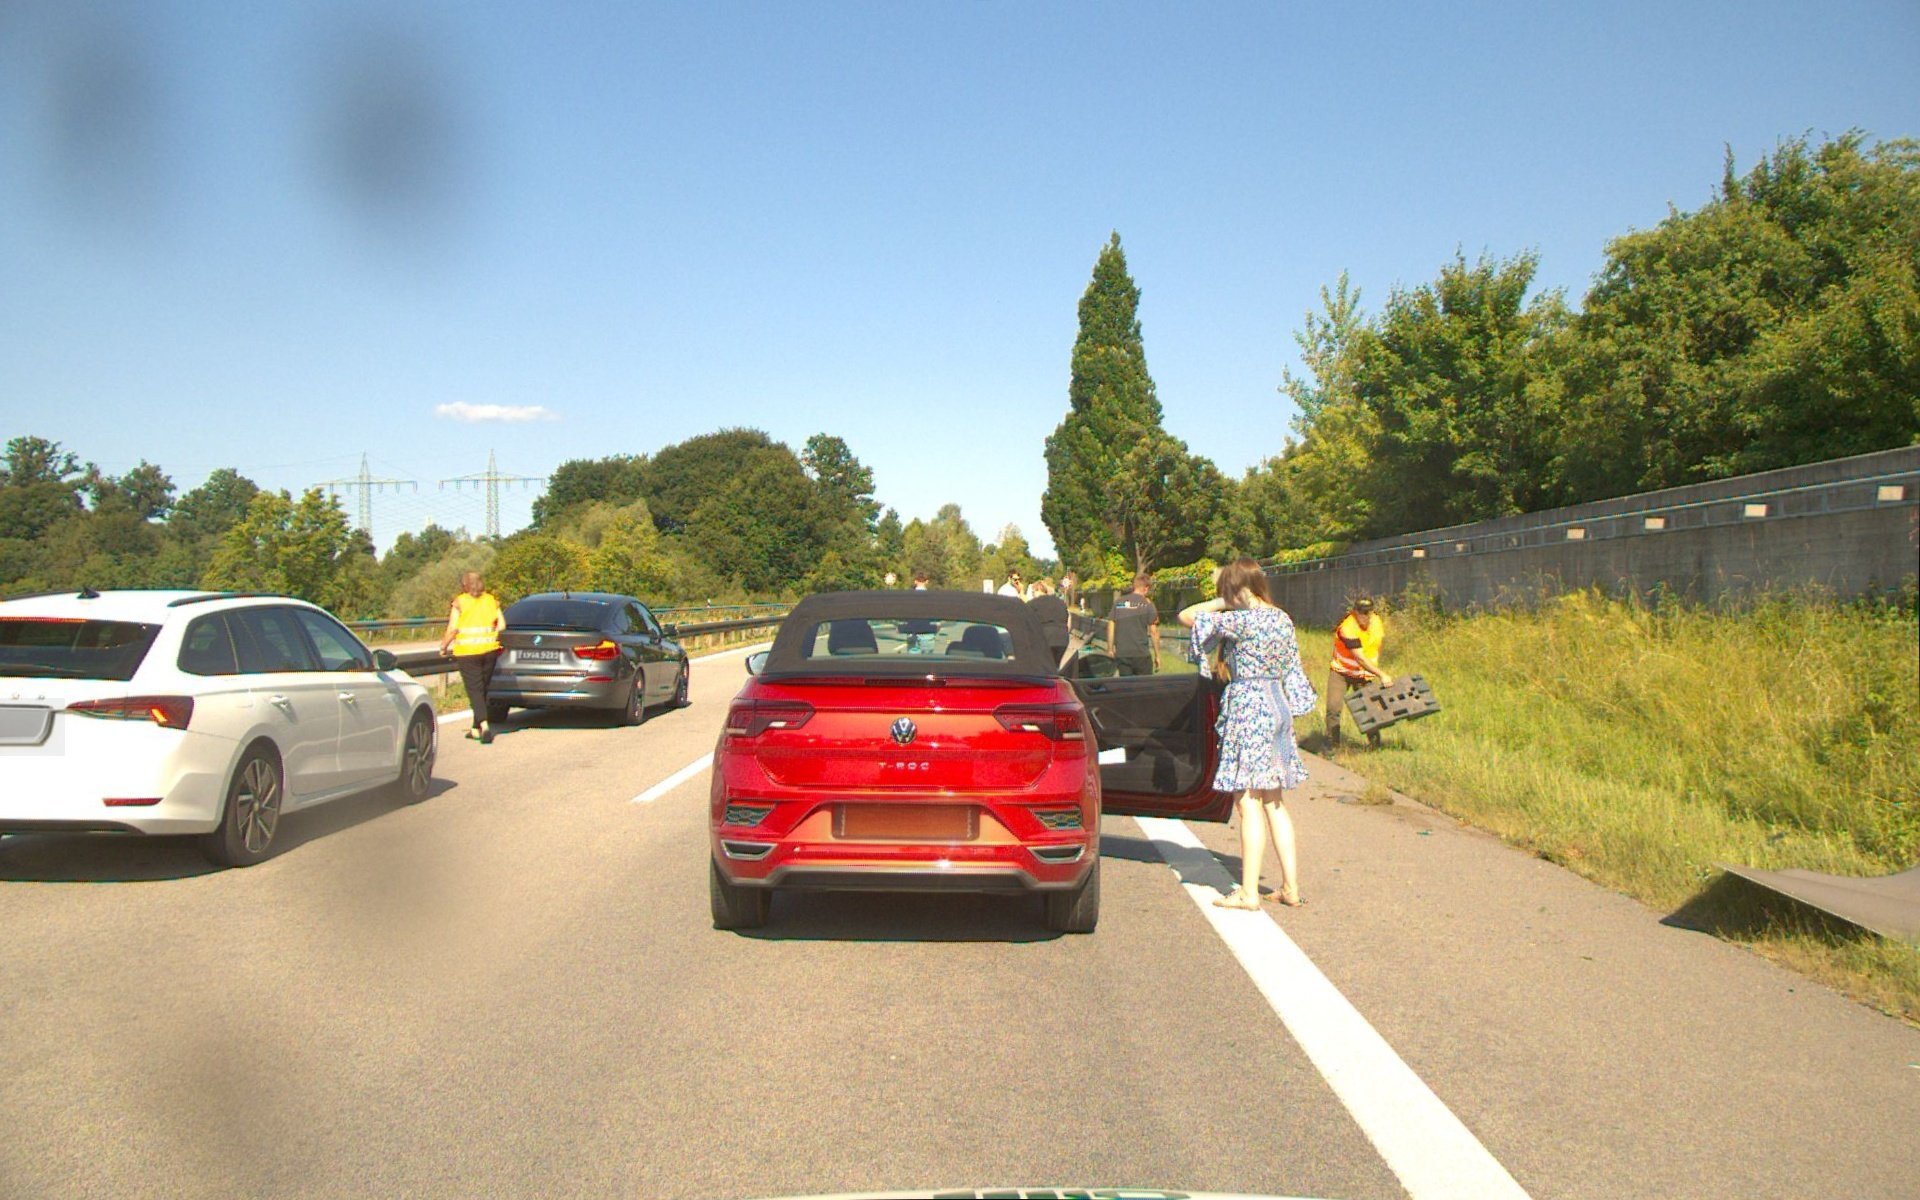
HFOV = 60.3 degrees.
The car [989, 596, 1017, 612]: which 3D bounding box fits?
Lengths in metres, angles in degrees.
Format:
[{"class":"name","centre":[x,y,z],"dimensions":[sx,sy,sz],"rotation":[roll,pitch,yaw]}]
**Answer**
[{"class":"car","centre":[4.211,0.346,162.154],"dimensions":[1.696,1.513,4.213],"rotation":[1,0,16]}]

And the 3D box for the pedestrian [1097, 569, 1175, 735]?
[{"class":"pedestrian","centre":[1.972,0.570,18.456],"dimensions":[0.794,1.790,0.829],"rotation":[1,-1,10]}]

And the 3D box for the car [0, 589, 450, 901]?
[{"class":"car","centre":[-4.574,0.682,9.994],"dimensions":[1.660,1.467,4.210],"rotation":[1,0,0]}]

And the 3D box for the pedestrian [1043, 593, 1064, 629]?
[{"class":"pedestrian","centre":[4.507,0.519,79.967],"dimensions":[0.975,1.719,1.011],"rotation":[1,0,3]}]

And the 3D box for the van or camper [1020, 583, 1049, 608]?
[{"class":"van or camper","centre":[7.260,-0.404,161.039],"dimensions":[1.951,2.356,4.473],"rotation":[1,0,15]}]

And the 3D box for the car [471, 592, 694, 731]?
[{"class":"car","centre":[-4.374,0.647,19.817],"dimensions":[1.660,1.451,4.334],"rotation":[1,0,0]}]

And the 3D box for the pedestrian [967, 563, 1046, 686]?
[{"class":"pedestrian","centre":[0.752,0.387,27.066],"dimensions":[1.085,1.946,1.255],"rotation":[-1,0,-8]}]

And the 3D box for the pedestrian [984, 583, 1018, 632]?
[{"class":"pedestrian","centre":[1.444,0.263,58.241],"dimensions":[1.090,1.719,0.974],"rotation":[1,0,5]}]

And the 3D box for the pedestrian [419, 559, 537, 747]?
[{"class":"pedestrian","centre":[-4.816,0.500,16.481],"dimensions":[1.026,1.794,1.111],"rotation":[-1,0,-21]}]

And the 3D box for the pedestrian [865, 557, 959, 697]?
[{"class":"pedestrian","centre":[-0.633,0.350,22.262],"dimensions":[1.080,1.820,1.092],"rotation":[1,0,7]}]

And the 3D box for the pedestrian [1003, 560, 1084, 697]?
[{"class":"pedestrian","centre":[1.187,0.394,23.751],"dimensions":[1.067,1.916,1.068],"rotation":[-1,0,-1]}]

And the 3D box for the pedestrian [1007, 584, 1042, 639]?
[{"class":"pedestrian","centre":[2.062,0.362,52.668],"dimensions":[1.033,1.719,1.018],"rotation":[1,0,7]}]

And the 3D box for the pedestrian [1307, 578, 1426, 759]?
[{"class":"pedestrian","centre":[3.935,0.639,16.109],"dimensions":[0.937,1.682,1.279],"rotation":[-1,0,6]}]

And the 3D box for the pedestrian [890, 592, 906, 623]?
[{"class":"pedestrian","centre":[-3.495,0.438,93.482],"dimensions":[0.775,1.719,0.793],"rotation":[1,-1,5]}]

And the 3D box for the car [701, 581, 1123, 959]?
[{"class":"car","centre":[-0.191,0.685,8.835],"dimensions":[1.697,1.513,4.210],"rotation":[1,0,0]}]

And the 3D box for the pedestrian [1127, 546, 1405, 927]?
[{"class":"pedestrian","centre":[1.485,0.611,8.174],"dimensions":[0.878,1.725,1.121],"rotation":[-1,0,-23]}]

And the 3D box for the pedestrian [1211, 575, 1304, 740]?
[{"class":"pedestrian","centre":[3.237,0.616,18.074],"dimensions":[0.876,1.755,0.754],"rotation":[1,-1,1]}]
